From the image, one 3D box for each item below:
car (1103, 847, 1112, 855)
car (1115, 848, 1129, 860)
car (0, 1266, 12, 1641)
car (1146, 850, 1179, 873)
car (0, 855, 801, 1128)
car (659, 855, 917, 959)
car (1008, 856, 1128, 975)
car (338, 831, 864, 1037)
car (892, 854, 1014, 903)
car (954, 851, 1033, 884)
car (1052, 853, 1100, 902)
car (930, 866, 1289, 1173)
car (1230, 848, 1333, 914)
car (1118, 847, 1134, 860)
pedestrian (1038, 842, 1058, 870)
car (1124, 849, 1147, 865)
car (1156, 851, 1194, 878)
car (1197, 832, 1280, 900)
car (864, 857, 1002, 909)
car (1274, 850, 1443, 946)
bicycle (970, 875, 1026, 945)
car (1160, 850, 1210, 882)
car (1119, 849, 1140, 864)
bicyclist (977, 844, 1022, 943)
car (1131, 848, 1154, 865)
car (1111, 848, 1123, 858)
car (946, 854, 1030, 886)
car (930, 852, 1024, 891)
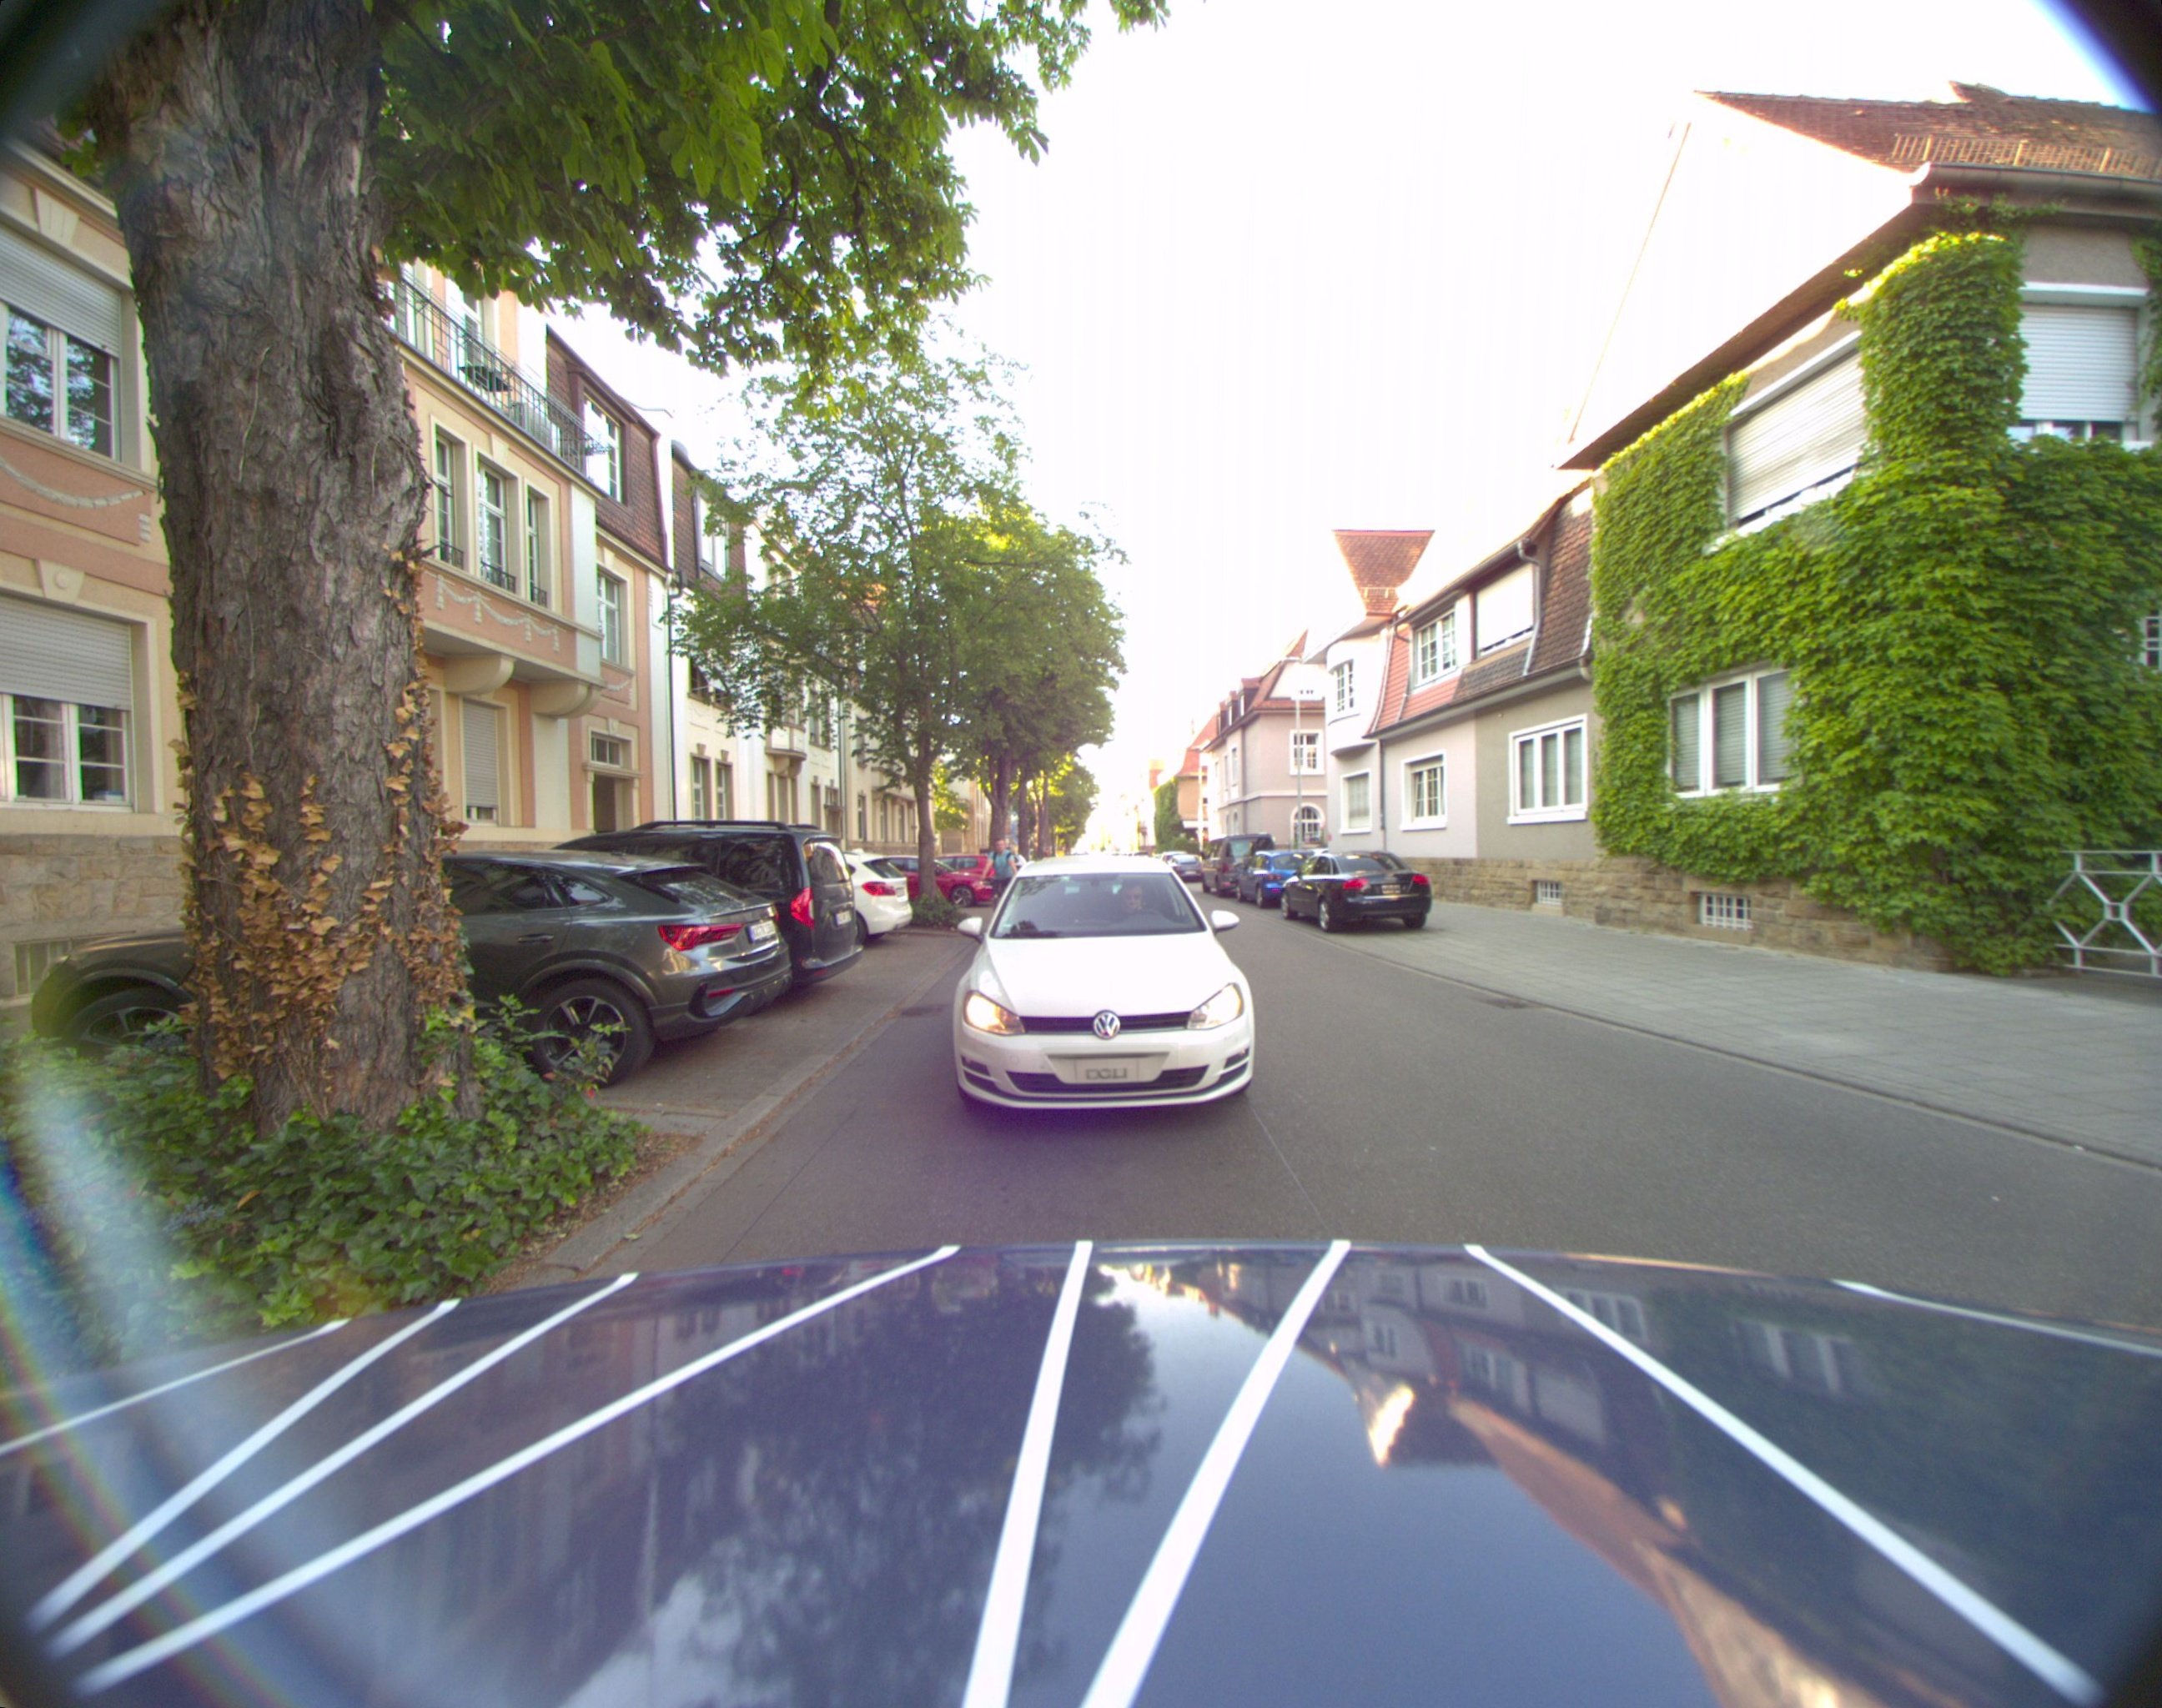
[{"bbox_3d":[5.210,-0.552,149.270,1.643,1.461,3.689,-3,0,0],"label":"car"},{"bbox_3d":[5.438,-0.059,101.165,1.643,1.461,3.689,-3,0,0],"label":"car"},{"bbox_3d":[-4.671,0.785,0.523,4.835,1.814,1.880,1,1,-4],"label":"car"},{"bbox_3d":[5.386,0.460,50.582,1.719,1.363,3.945,-3,0,0],"label":"car"},{"bbox_3d":[-4.378,0.838,5.421,4.173,1.583,1.594,1,1,-4],"label":"car"},{"bbox_3d":[-4.618,0.820,12.364,3.623,1.541,1.537,1,1,-4],"label":"car"},{"bbox_3d":[-0.146,0.837,12.244,1.600,1.546,4.000,1,0,1],"label":"car"},{"bbox_3d":[-4.469,0.711,7.602,4.173,1.816,1.594,1,1,-4],"label":"car"},{"bbox_3d":[-4.054,0.763,24.348,3.622,1.456,1.537,1,1,0],"label":"car"},{"bbox_3d":[-4.211,0.639,36.888,3.622,1.555,1.537,0,1,0],"label":"car"},{"bbox_3d":[-0.133,0.757,26.587,1.560,1.546,3.738,1,0,1],"label":"car"},{"bbox_3d":[0.112,0.882,5.926,1.799,1.420,4.023,-2,0,-1],"label":"car"},{"bbox_3d":[5.247,0.639,20.393,1.611,1.455,4.023,-4,1,0],"label":"car"},{"bbox_3d":[5.368,-0.039,91.195,1.643,1.461,3.689,-3,0,-1],"label":"car"},{"bbox_3d":[-2.344,0.135,54.418,1.190,2.002,0.929,1,1,-18],"label":"pedestrian"},{"bbox_3d":[5.394,0.297,75.425,1.643,1.461,3.688,-3,1,-4],"label":"car"},{"bbox_3d":[5.147,0.536,42.126,1.541,1.363,3.945,-3,0,0],"label":"car"},{"bbox_3d":[5.135,0.338,25.273,1.719,1.961,4.310,-4,1,0],"label":"car"},{"bbox_3d":[-4.164,0.799,21.747,3.622,1.395,1.537,1,1,0],"label":"car"},{"bbox_3d":[5.062,0.712,14.470,1.751,1.421,4.023,-4,1,1],"label":"car"},{"bbox_3d":[-1.495,0.989,14.027,0.744,1.111,2.013,-2,0,1],"label":"bicycle"},{"bbox_3d":[4.970,0.551,36.854,1.719,1.363,4.334,-3,0,0],"label":"car"},{"bbox_3d":[5.113,0.224,80.460,1.643,1.461,3.688,-3,1,-4],"label":"car"},{"bbox_3d":[-1.497,0.706,14.058,0.648,1.765,0.830,-2,1,1],"label":"bicyclist"},{"bbox_3d":[5.478,0.212,68.261,1.643,1.461,3.945,-3,0,0],"label":"car"},{"bbox_3d":[5.496,-0.146,115.809,1.643,1.461,3.689,-3,0,0],"label":"car"},{"bbox_3d":[-4.149,0.719,34.262,3.622,1.395,1.537,0,1,0],"label":"car"},{"bbox_3d":[-4.182,0.696,30.953,3.622,1.555,1.537,0,1,0],"label":"car"}]
